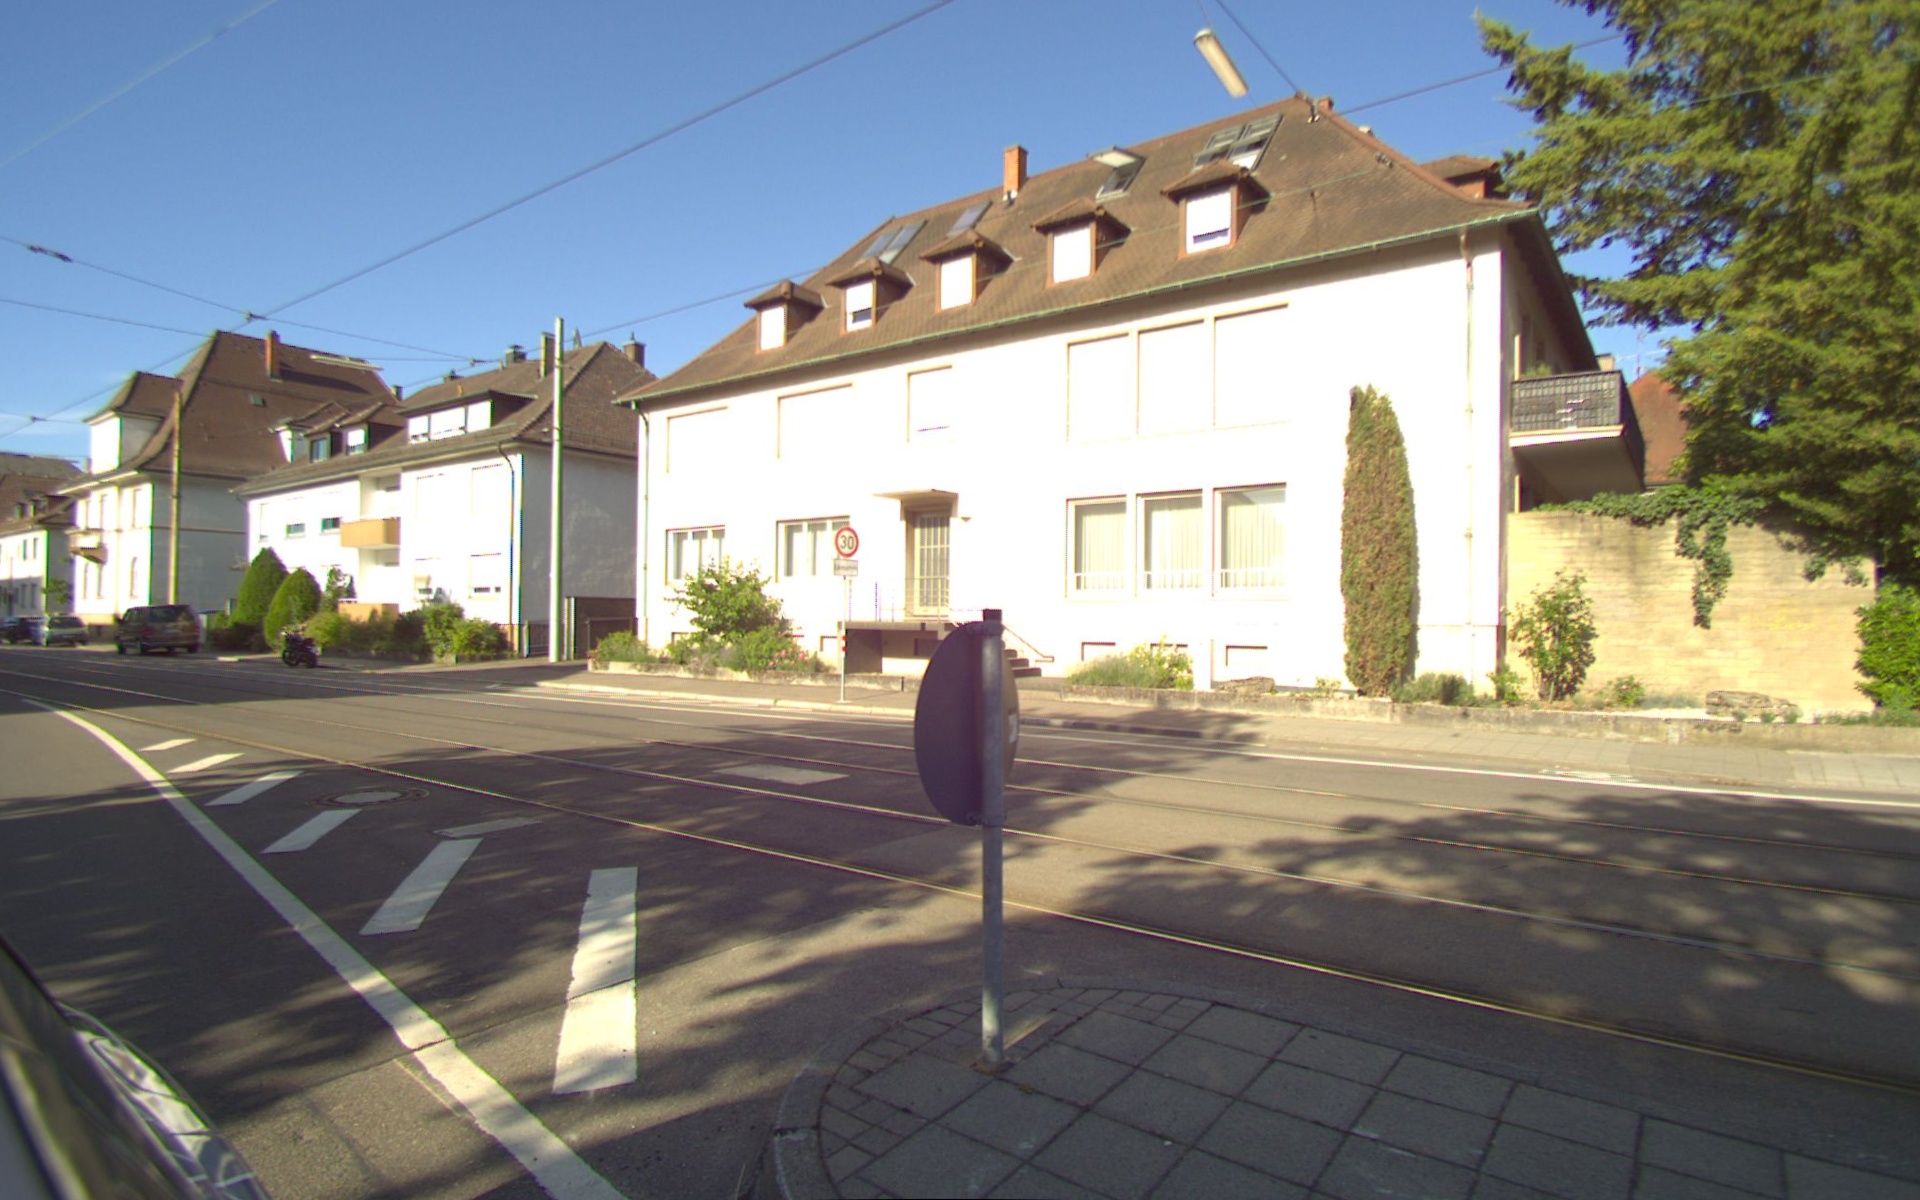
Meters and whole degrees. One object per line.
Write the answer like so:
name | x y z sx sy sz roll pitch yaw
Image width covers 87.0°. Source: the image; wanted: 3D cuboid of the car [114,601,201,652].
car | -31.991 1.024 40.311 3.996 1.915 1.900 -1 0 39

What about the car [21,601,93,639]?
car | -43.706 0.962 48.961 3.994 1.728 1.901 -1 0 38

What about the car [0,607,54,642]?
car | -48.562 1.229 52.297 3.993 1.728 1.901 -1 0 37

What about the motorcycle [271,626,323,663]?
motorcycle | -20.199 1.347 30.808 2.434 1.054 0.598 -1 0 39
